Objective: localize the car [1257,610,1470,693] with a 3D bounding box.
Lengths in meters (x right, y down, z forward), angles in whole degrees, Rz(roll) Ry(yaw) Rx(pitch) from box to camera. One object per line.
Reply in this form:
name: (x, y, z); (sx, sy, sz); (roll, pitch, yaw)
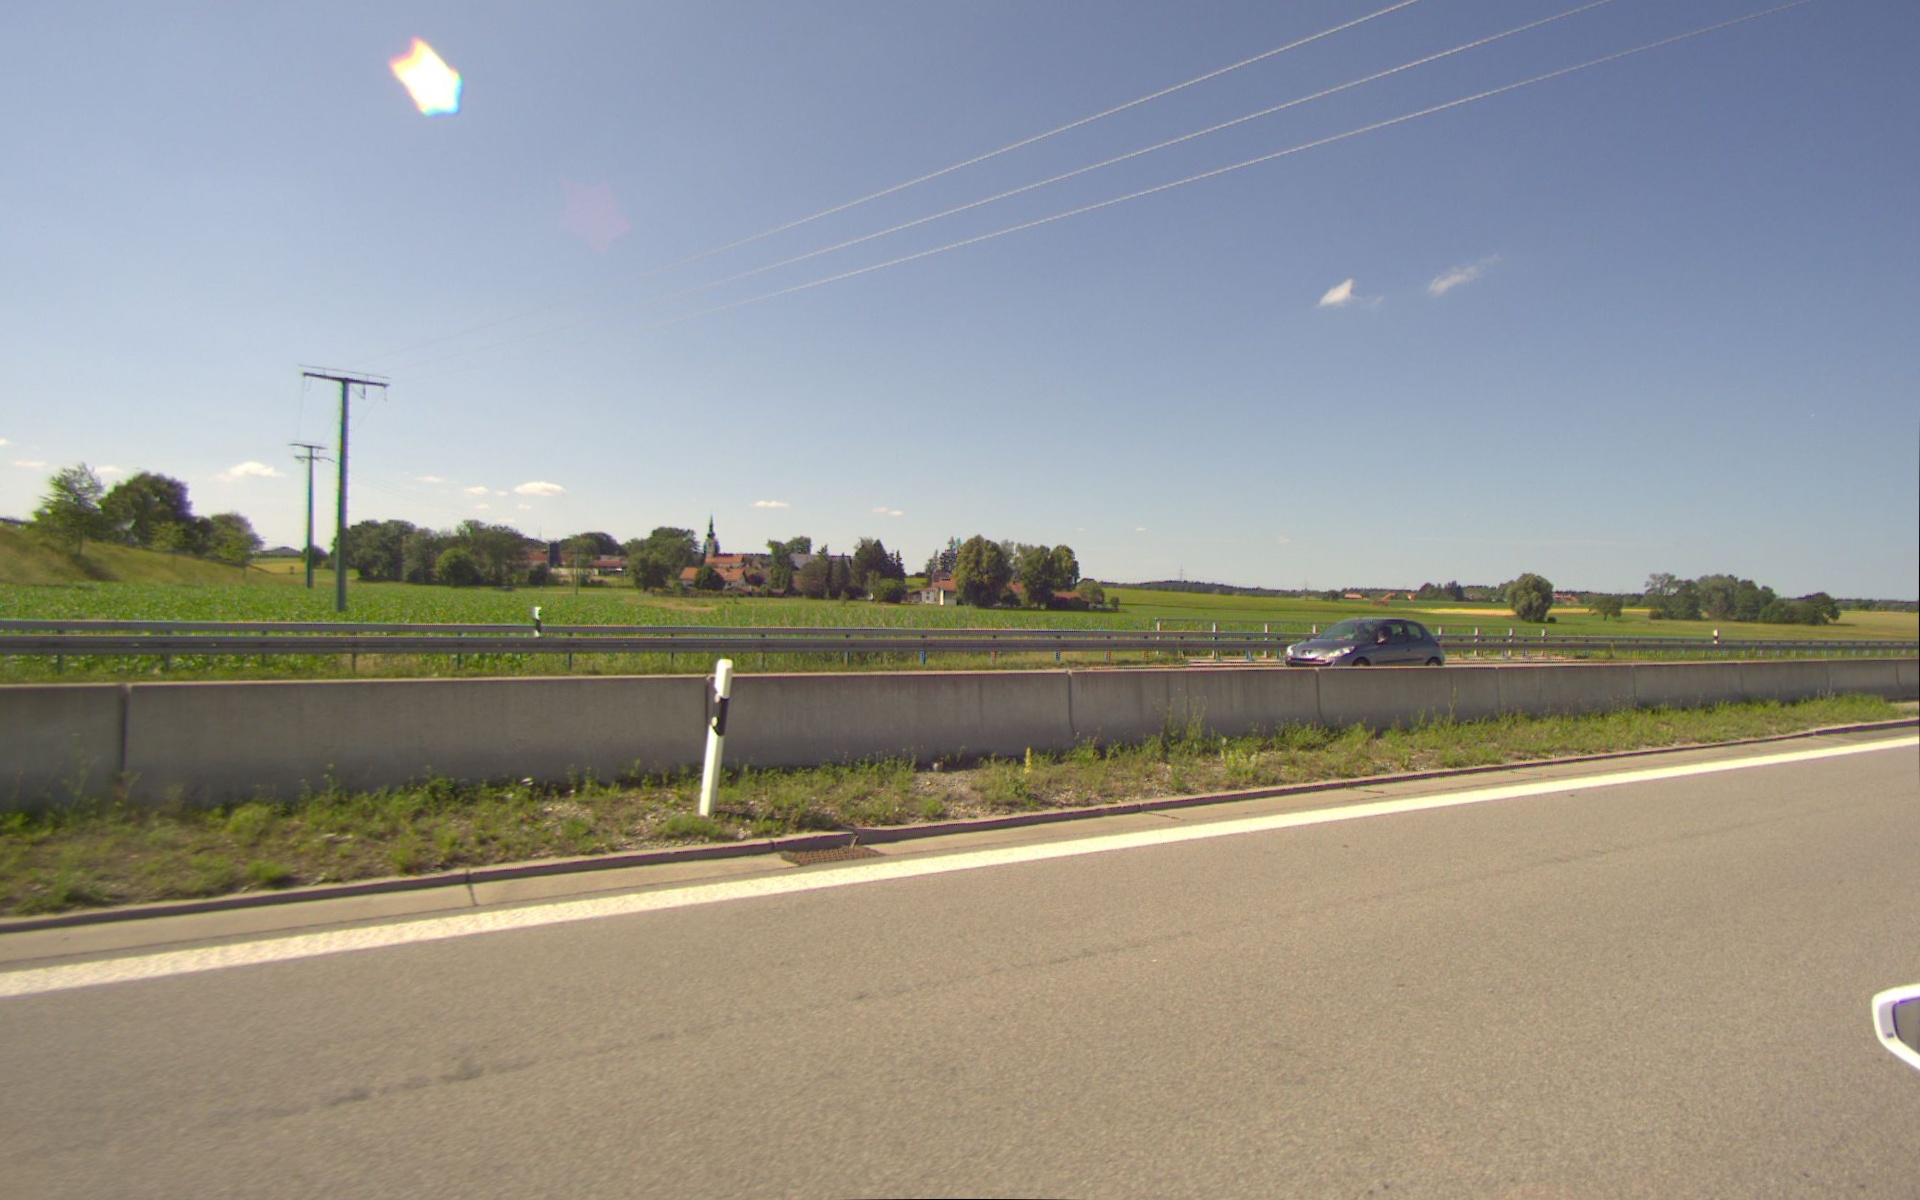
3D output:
car: (8.706, 1.065, 21.588); (4.532, 1.534, 1.850); (2, 2, -31)
